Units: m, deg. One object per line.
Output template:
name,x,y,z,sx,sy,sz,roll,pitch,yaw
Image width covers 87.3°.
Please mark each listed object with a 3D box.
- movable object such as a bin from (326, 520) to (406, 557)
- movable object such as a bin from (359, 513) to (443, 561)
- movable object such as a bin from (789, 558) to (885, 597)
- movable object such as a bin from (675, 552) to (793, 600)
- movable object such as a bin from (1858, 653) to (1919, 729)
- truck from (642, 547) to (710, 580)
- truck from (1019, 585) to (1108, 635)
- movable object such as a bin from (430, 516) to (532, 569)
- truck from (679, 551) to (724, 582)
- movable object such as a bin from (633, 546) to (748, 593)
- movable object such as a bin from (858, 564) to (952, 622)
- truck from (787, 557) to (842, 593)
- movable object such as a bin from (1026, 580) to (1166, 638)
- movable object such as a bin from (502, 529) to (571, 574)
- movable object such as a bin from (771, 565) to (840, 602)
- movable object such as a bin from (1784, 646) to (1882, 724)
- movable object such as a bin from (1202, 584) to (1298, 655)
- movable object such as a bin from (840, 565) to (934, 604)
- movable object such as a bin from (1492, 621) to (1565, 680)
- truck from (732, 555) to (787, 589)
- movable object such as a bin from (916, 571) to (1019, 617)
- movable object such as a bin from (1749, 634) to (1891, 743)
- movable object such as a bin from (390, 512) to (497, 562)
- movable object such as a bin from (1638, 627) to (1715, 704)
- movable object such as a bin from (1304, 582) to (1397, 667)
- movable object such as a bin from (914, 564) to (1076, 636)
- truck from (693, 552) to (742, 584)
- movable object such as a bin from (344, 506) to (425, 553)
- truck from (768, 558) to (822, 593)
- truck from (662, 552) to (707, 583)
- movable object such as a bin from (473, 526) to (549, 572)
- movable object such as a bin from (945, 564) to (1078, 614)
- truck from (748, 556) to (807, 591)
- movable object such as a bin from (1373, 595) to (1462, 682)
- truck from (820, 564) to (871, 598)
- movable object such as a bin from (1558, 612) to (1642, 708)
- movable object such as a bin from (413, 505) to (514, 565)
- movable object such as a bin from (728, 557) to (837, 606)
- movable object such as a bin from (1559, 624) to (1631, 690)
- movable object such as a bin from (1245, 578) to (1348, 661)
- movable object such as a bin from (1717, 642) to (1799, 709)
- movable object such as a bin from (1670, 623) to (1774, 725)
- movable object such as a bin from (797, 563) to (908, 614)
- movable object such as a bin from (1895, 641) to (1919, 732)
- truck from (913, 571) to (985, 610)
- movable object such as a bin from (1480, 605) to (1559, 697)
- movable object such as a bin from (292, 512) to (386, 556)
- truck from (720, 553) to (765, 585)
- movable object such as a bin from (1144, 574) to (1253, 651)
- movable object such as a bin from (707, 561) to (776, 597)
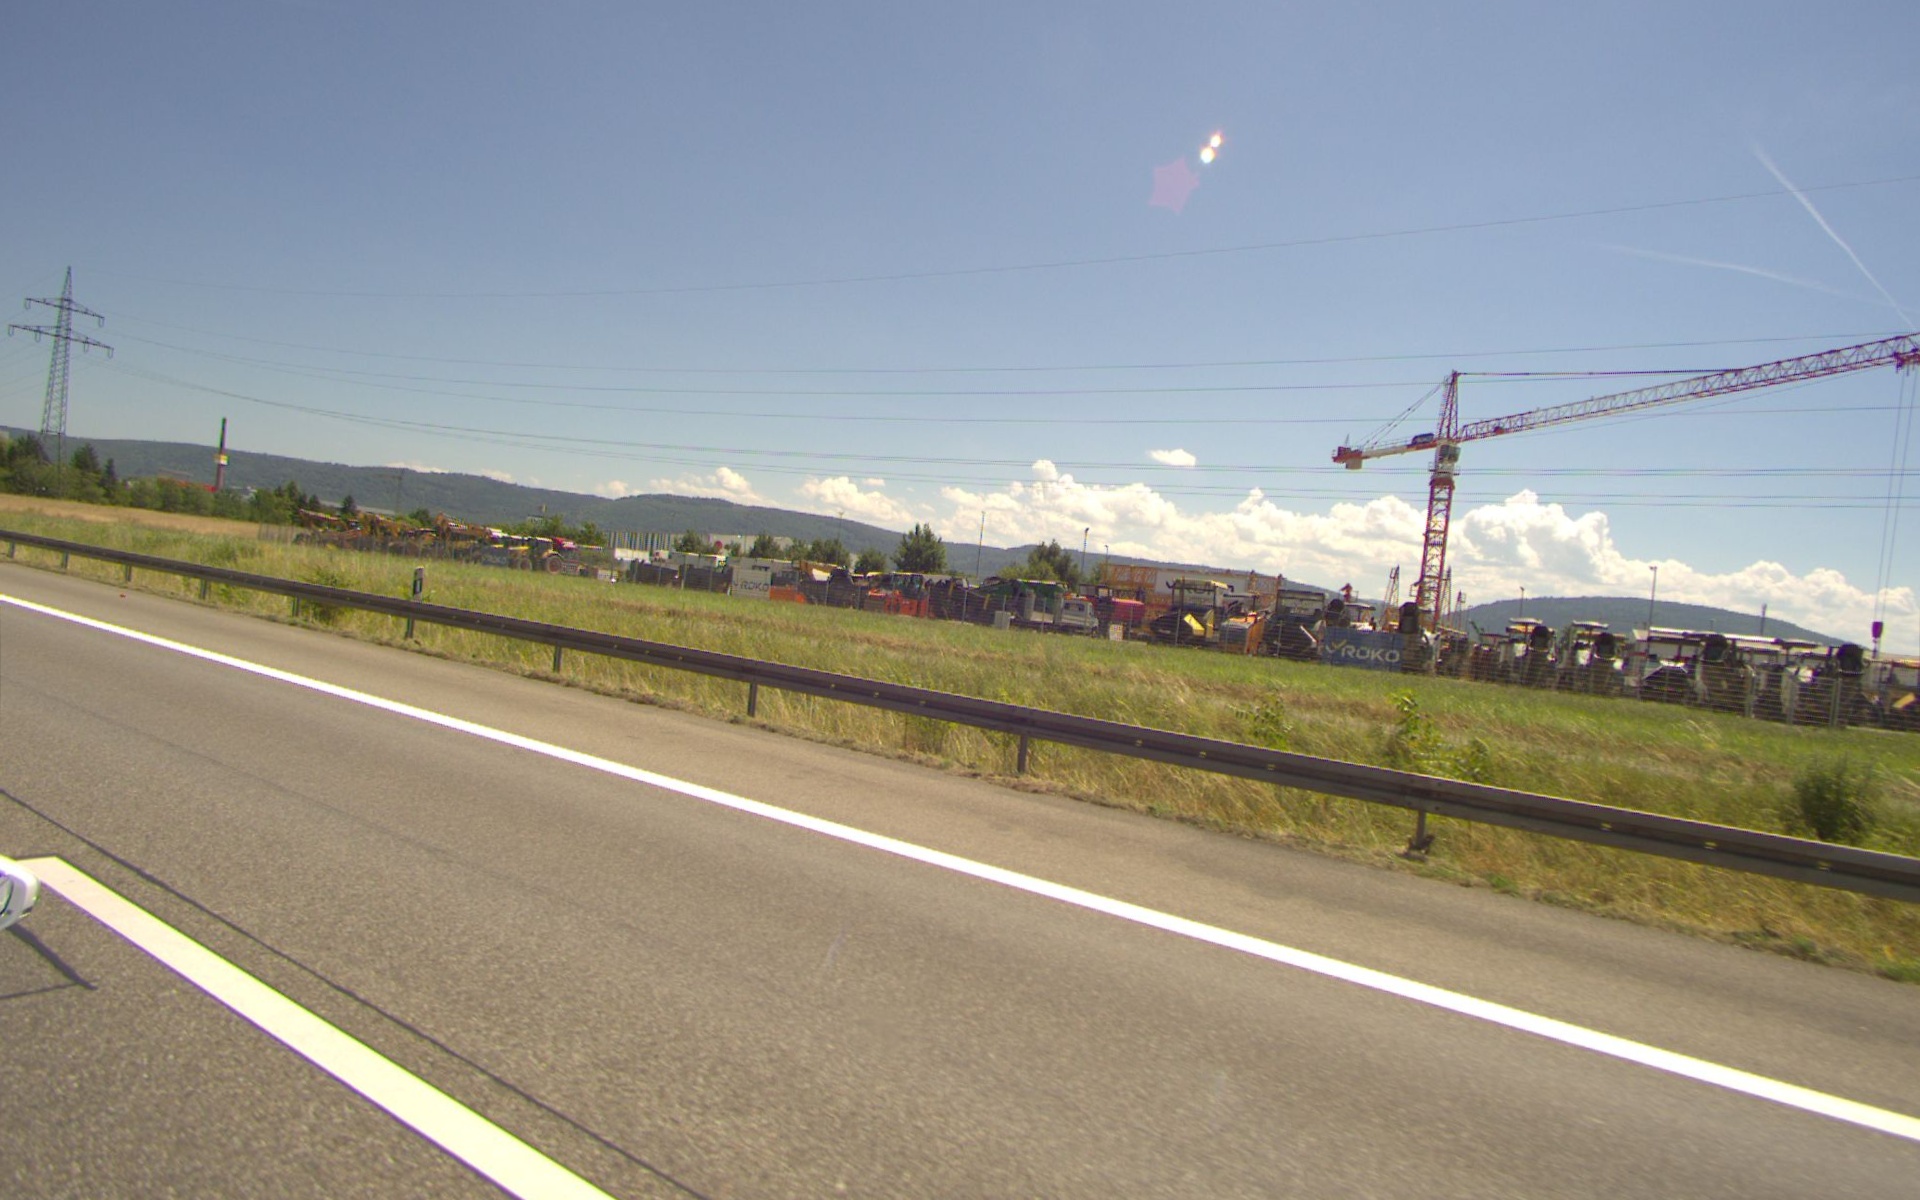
movable object such as a bin,-59.176,-6.060,100.361,2.239,2.917,6.341,7,1,37
movable object such as a bin,-53.508,-6.024,96.457,2.457,3.780,6.341,7,1,37
movable object such as a bin,-11.271,-2.051,92.842,8.357,2.723,2.714,6,1,-35
movable object such as a bin,-16.656,-1.752,74.426,7.780,2.723,3.147,6,1,-35
movable object such as a bin,50.217,4.821,53.127,2.877,3.617,9.039,7,1,36
truck,-31.085,-3.976,110.266,3.294,2.857,6.344,6,0,34
truck,6.226,0.623,59.931,2.617,2.495,5.540,7,1,37
movable object such as a bin,-43.124,-5.146,90.808,3.057,3.831,7.508,7,1,39
truck,-33.293,-4.270,129.619,2.720,3.461,5.719,6,0,17
movable object such as a bin,-20.584,-2.285,77.109,7.780,2.723,3.147,6,1,-35
movable object such as a bin,-3.597,-0.407,66.711,5.808,3.238,2.490,5,1,-44
truck,-15.294,-2.601,106.272,2.868,3.189,6.361,6,0,20
movable object such as a bin,11.313,0.787,83.066,11.580,3.657,2.952,6,1,-27
movable object such as a bin,-36.327,-4.125,86.377,2.264,3.238,4.808,7,1,39
movable object such as a bin,-15.015,-1.561,97.944,6.325,2.916,2.245,6,1,-44
movable object such as a bin,47.312,4.555,54.746,2.877,3.617,9.039,7,1,36
movable object such as a bin,16.013,1.202,54.996,2.490,3.351,9.110,7,1,31
movable object such as a bin,-6.623,-1.411,92.050,8.357,2.723,2.580,6,1,-35
movable object such as a bin,35.808,3.242,63.237,2.877,3.189,7.975,7,1,36
truck,-23.196,-3.198,116.620,3.284,3.297,6.362,6,0,19
movable object such as a bin,0.699,-0.482,85.129,8.357,2.984,2.881,6,1,-35
movable object such as a bin,35.558,3.538,42.016,2.928,3.737,9.718,7,1,33
movable object such as a bin,-48.938,-5.921,95.528,3.288,3.780,8.176,7,1,39
movable object such as a bin,41.855,3.810,58.814,3.087,3.886,8.742,7,1,36
movable object such as a bin,20.089,1.365,51.285,2.354,3.737,10.260,7,1,31
movable object such as a bin,2.299,0.082,62.143,10.181,3.459,2.499,6,1,-34
truck,-30.366,-3.985,126.099,3.150,3.461,5.719,6,0,17
movable object such as a bin,-56.299,-6.824,98.515,2.239,3.780,6.341,7,1,37
truck,-17.911,-2.628,109.618,2.868,3.189,6.361,6,0,20
truck,-36.662,-4.294,134.168,2.858,3.461,5.719,6,0,17
movable object such as a bin,-39.661,-4.485,88.941,2.747,3.335,5.250,7,1,39
movable object such as a bin,4.363,-0.862,83.126,11.107,2.984,2.981,6,1,-33
truck,-20.381,-2.938,112.711,3.191,3.297,6.358,6,0,24
movable object such as a bin,23.216,1.983,50.678,2.634,3.737,9.723,7,1,31
truck,-12.869,-2.064,113.200,2.868,3.189,6.361,6,0,20
movable object such as a bin,29.407,2.726,46.515,2.634,3.737,9.723,7,1,31
movable object such as a bin,-45.889,-5.970,93.182,3.057,4.586,7.508,7,1,39
movable object such as a bin,-12.632,-1.299,71.911,6.838,2.723,3.146,6,1,-36
movable object such as a bin,38.659,3.482,61.087,2.877,3.468,8.183,7,1,36
movable object such as a bin,17.833,1.173,52.777,2.620,3.737,10.260,7,1,31
movable object such as a bin,44.687,4.203,56.549,2.877,3.189,8.685,7,1,36
movable object such as a bin,32.918,3.132,43.803,2.591,3.737,9.718,7,1,33
movable object such as a bin,-7.265,-0.774,68.652,6.856,2.723,3.138,5,1,-44
movable object such as a bin,39.872,3.582,39.327,2.928,3.737,9.718,7,1,33
truck,-1.207,-1.019,100.292,2.896,3.189,7.823,5,1,-37
movable object such as a bin,26.925,2.423,48.177,2.634,3.737,9.723,7,1,31
movable object such as a bin,-62.578,-6.617,101.533,2.239,3.446,7.540,7,1,37
truck,-25.891,-3.604,119.895,2.798,3.248,5.334,6,0,17
movable object such as a bin,13.584,0.837,56.573,2.620,3.737,10.260,7,1,31
movable object such as a bin,-21.921,-2.071,101.081,6.325,2.916,2.245,6,1,-44
